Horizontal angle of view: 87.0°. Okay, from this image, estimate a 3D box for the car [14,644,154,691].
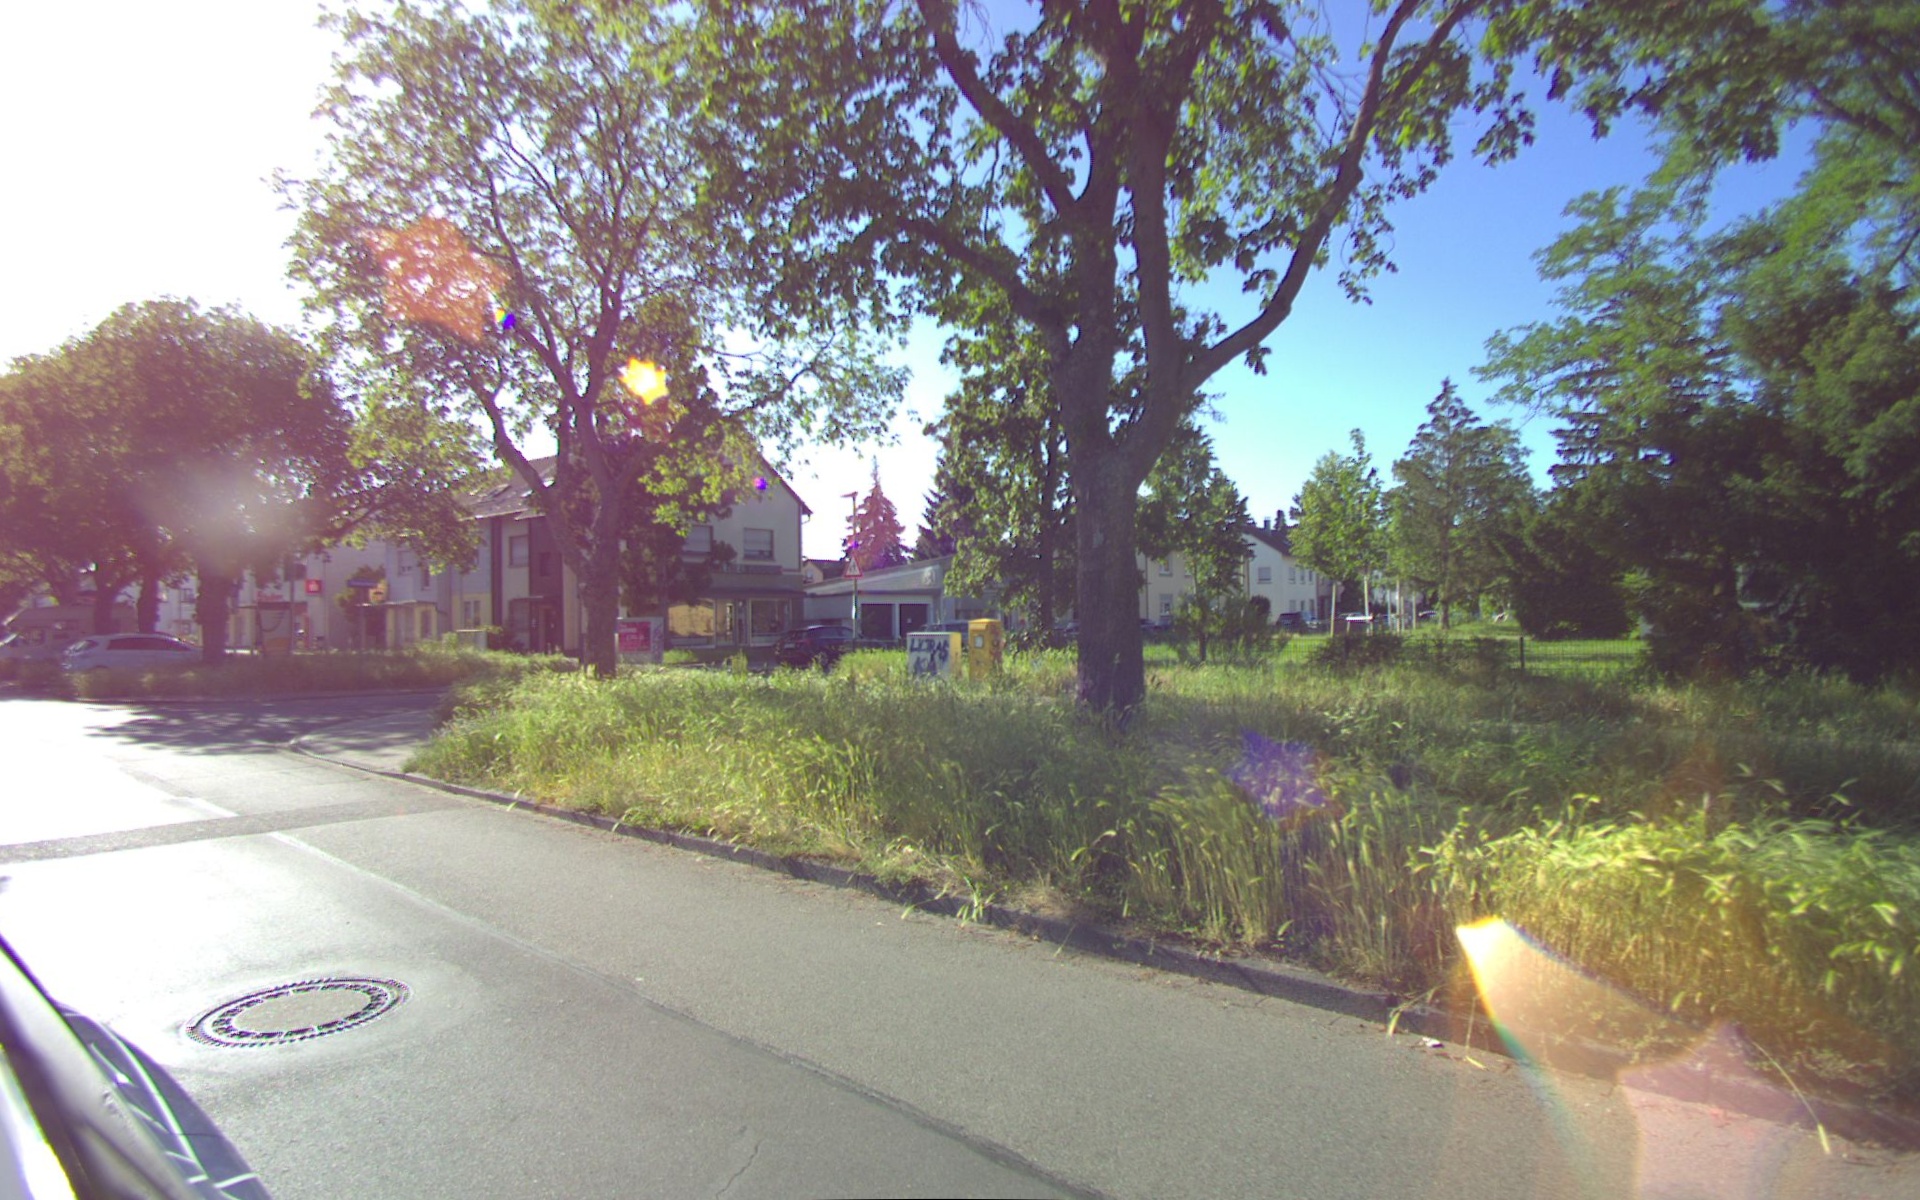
[{"bbox_3d":[-35.385,2.684,40.939,1.998,1.469,3.948,-2,2,40],"label":"car"}]

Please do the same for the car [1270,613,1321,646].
[{"bbox_3d":[23.036,2.012,69.399,1.997,1.962,3.950,-2,2,38],"label":"car"}]

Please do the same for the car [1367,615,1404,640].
[{"bbox_3d":[36.569,2.364,86.924,1.997,2.029,3.950,-3,-2,37],"label":"car"}]

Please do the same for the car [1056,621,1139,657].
[{"bbox_3d":[6.465,1.795,47.457,1.999,1.551,3.945,-3,-2,41],"label":"car"}]

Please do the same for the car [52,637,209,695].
[{"bbox_3d":[-29.380,2.271,35.920,1.998,1.601,3.947,-2,2,40],"label":"car"}]

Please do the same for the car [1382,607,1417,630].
[{"bbox_3d":[39.557,1.667,91.062,1.997,2.029,3.950,-3,-2,37],"label":"car"}]

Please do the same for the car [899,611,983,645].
[{"bbox_3d":[-0.943,1.353,49.111,3.755,1.530,1.781,-3,-1,39],"label":"car"}]

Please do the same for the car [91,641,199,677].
[{"bbox_3d":[-41.854,2.994,52.024,1.866,1.554,3.952,-2,0,36],"label":"car"}]

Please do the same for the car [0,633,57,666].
[{"bbox_3d":[-57.699,3.078,60.640,1.997,1.740,5.015,-2,2,37],"label":"car"}]

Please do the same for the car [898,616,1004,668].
[{"bbox_3d":[-0.303,1.606,39.475,1.999,1.834,3.945,-3,-1,41],"label":"car"}]

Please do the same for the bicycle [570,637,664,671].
[{"bbox_3d":[-13.079,2.061,38.484,4.033,1.185,0.700,-3,-2,25],"label":"bicycle"}]

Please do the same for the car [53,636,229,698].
[{"bbox_3d":[-25.340,2.026,31.401,1.965,1.673,3.946,-3,-1,40],"label":"car"}]

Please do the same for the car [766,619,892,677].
[{"bbox_3d":[-4.342,1.563,33.891,1.821,1.727,3.945,-3,-1,41],"label":"car"}]

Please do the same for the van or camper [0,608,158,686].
[{"bbox_3d":[-37.705,1.920,42.688,2.000,2.825,5.714,-2,2,43],"label":"van or camper"}]

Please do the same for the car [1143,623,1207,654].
[{"bbox_3d":[11.585,2.035,54.431,1.818,1.551,3.818,-3,-2,39],"label":"car"}]
